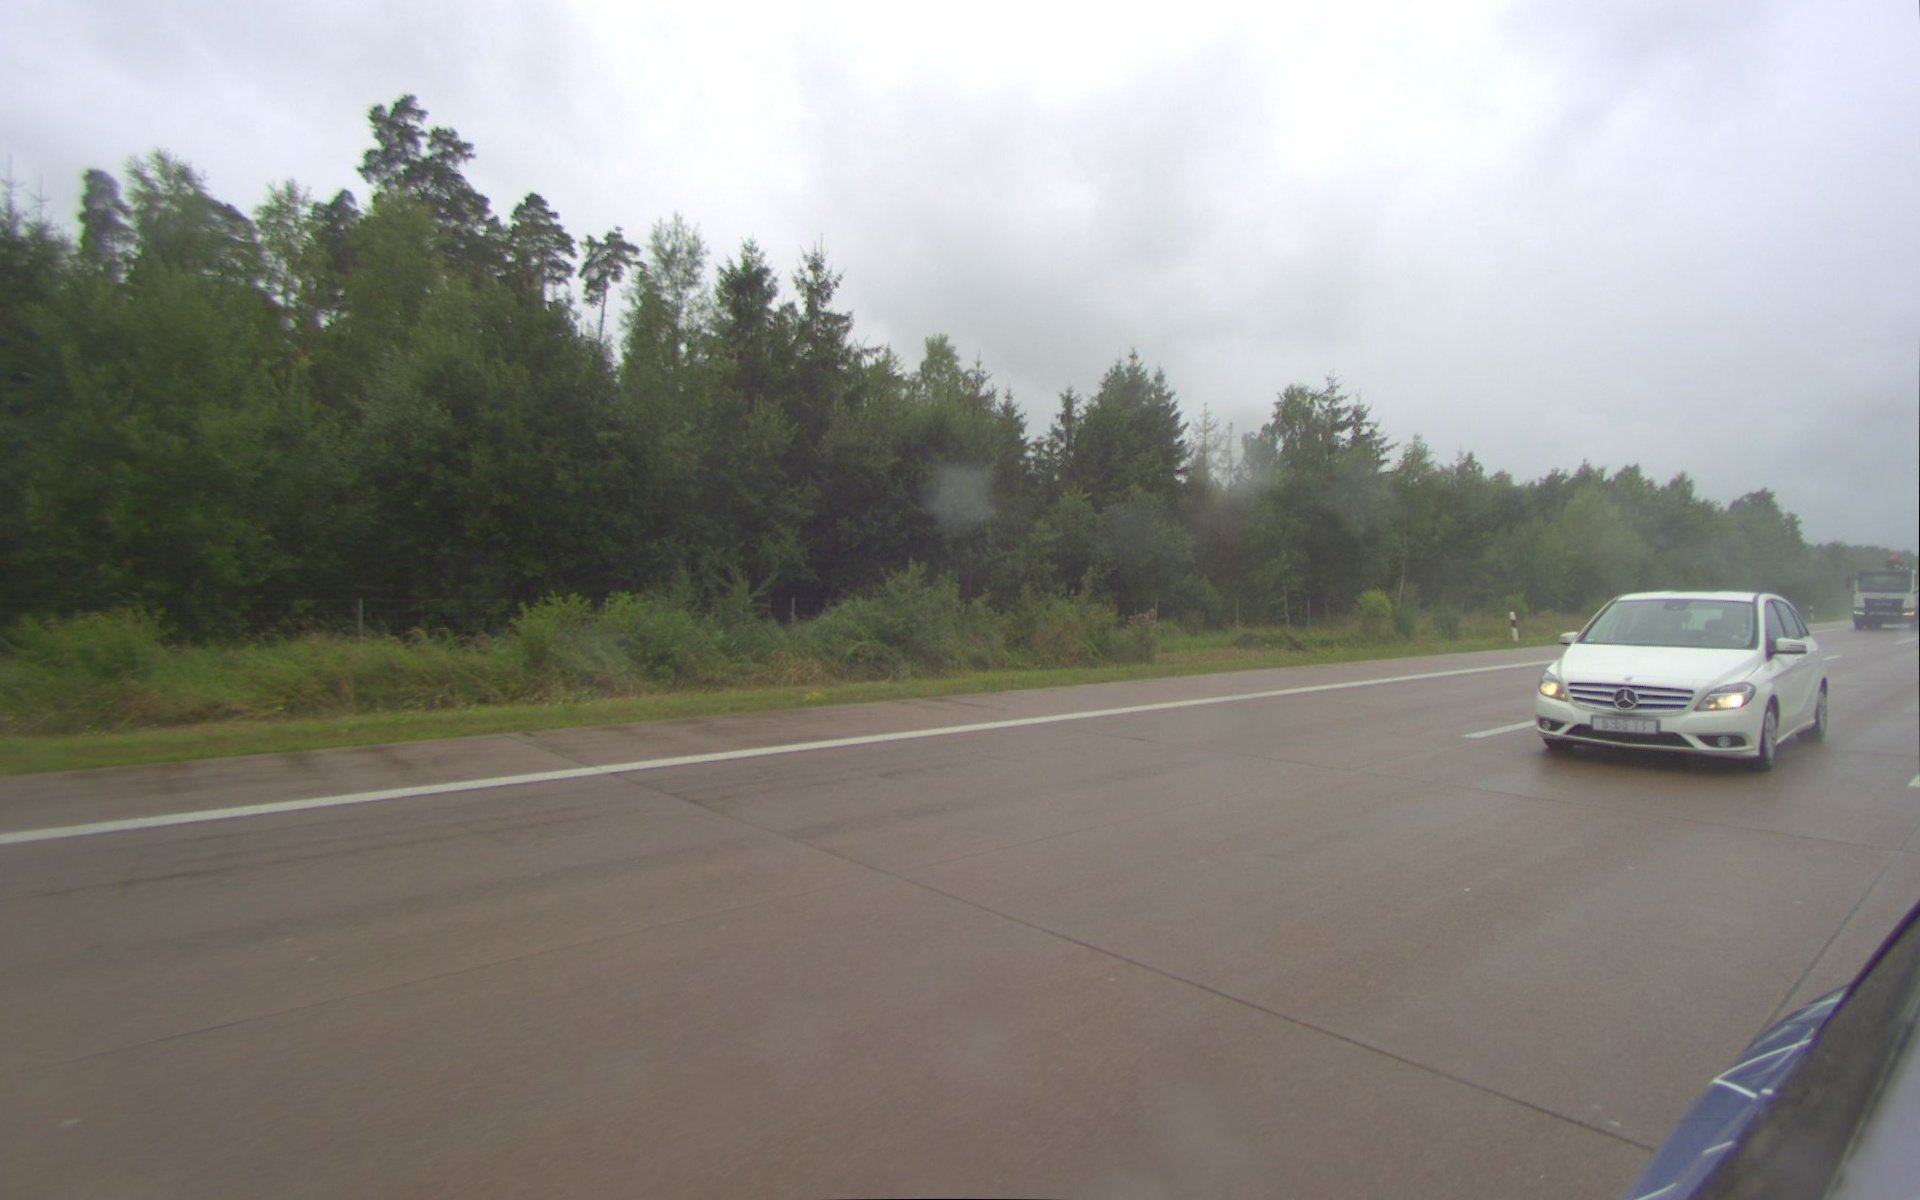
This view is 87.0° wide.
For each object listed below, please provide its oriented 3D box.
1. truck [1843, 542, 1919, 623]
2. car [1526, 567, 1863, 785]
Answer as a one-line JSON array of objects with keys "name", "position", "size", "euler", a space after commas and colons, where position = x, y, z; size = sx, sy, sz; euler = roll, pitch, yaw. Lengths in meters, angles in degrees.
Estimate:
[{"name": "truck", "position": [47.182, -0.850, 50.840], "size": [7.815, 3.777, 3.240], "euler": [0, 0, -41]}, {"name": "car", "position": [7.672, 0.602, 10.376], "size": [4.661, 1.750, 1.811], "euler": [0, 0, -41]}]
